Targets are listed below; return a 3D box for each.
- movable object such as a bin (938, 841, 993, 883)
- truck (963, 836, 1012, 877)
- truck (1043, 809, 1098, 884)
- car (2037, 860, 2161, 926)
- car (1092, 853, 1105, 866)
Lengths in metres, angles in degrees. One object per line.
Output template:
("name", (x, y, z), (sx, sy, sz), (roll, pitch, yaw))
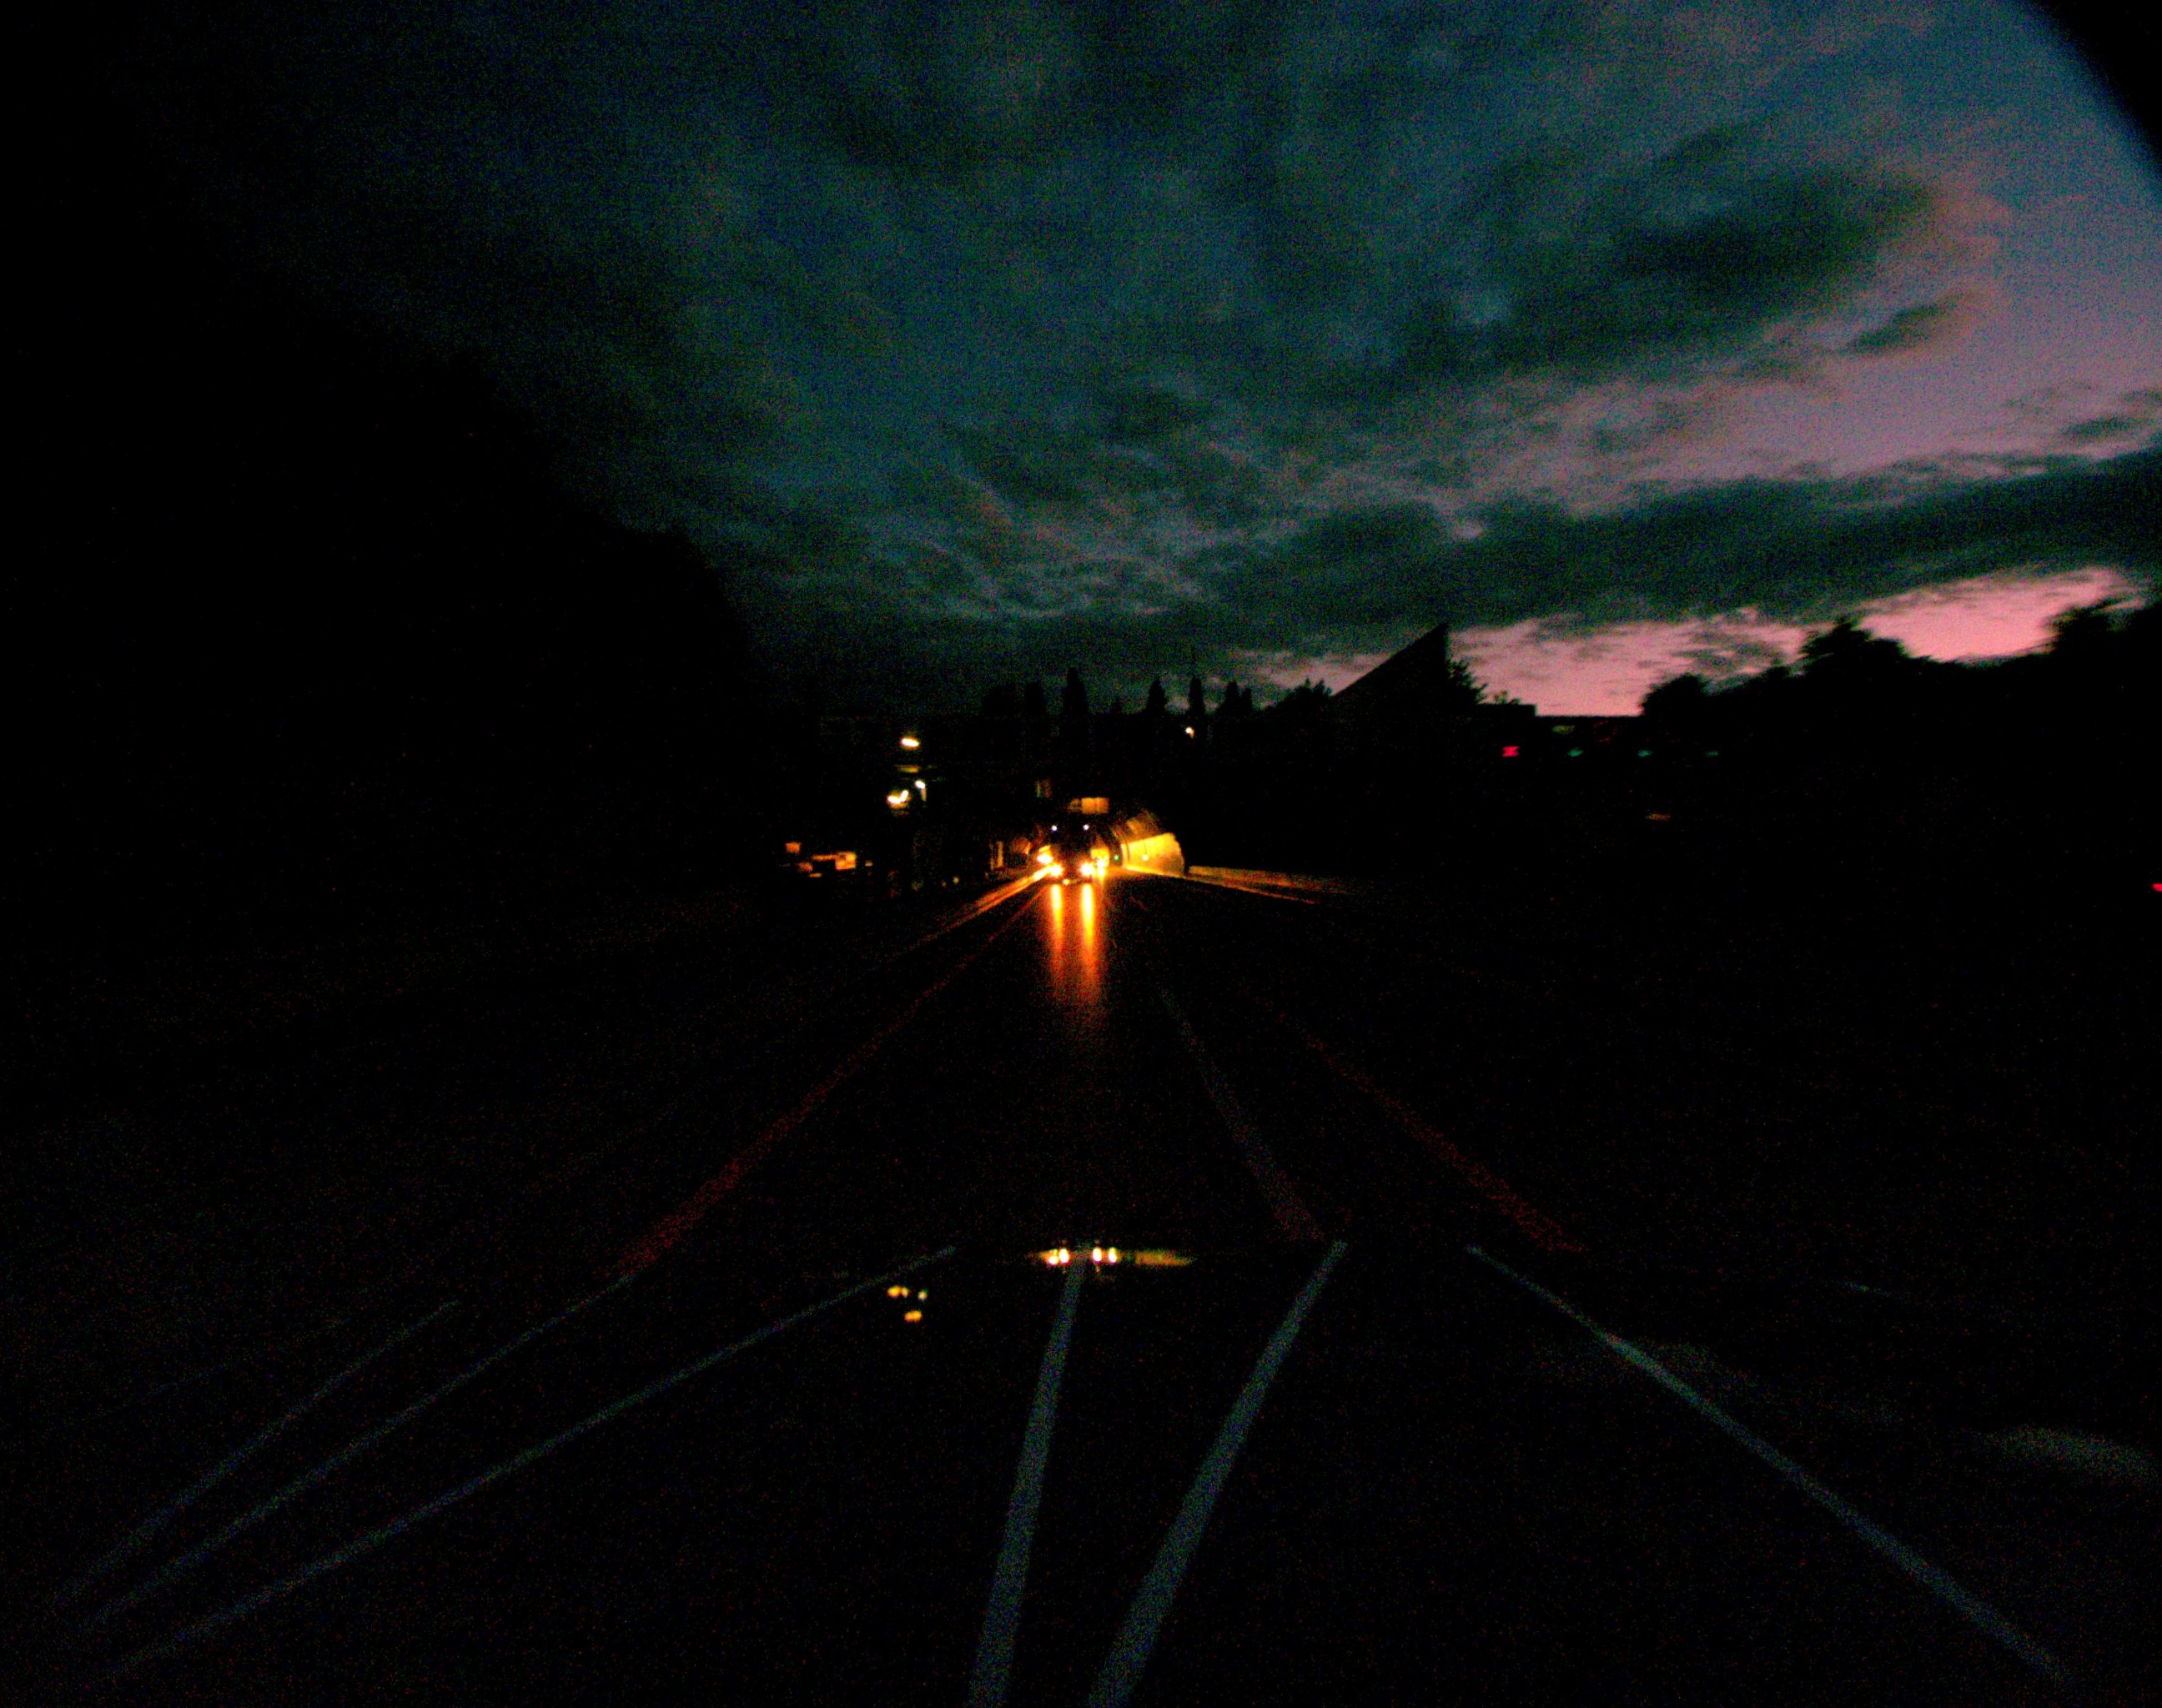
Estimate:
("movable object such as a bin", (-8.370, 0.511, 55.899), (2.978, 2.811, 7.194), (-3, 1, -1))
("truck", (-7.999, 0.144, 66.109), (2.825, 3.267, 8.352), (-3, 1, 1))
("truck", (-0.489, -0.506, 50.035), (2.953, 4.241, 11.052), (-3, 1, 1))
("car", (28.534, 1.008, 20.063), (1.802, 1.561, 3.791), (-3, 1, 1))
("car", (2.291, 0.671, 98.937), (1.663, 1.586, 3.996), (-3, 1, 1))
